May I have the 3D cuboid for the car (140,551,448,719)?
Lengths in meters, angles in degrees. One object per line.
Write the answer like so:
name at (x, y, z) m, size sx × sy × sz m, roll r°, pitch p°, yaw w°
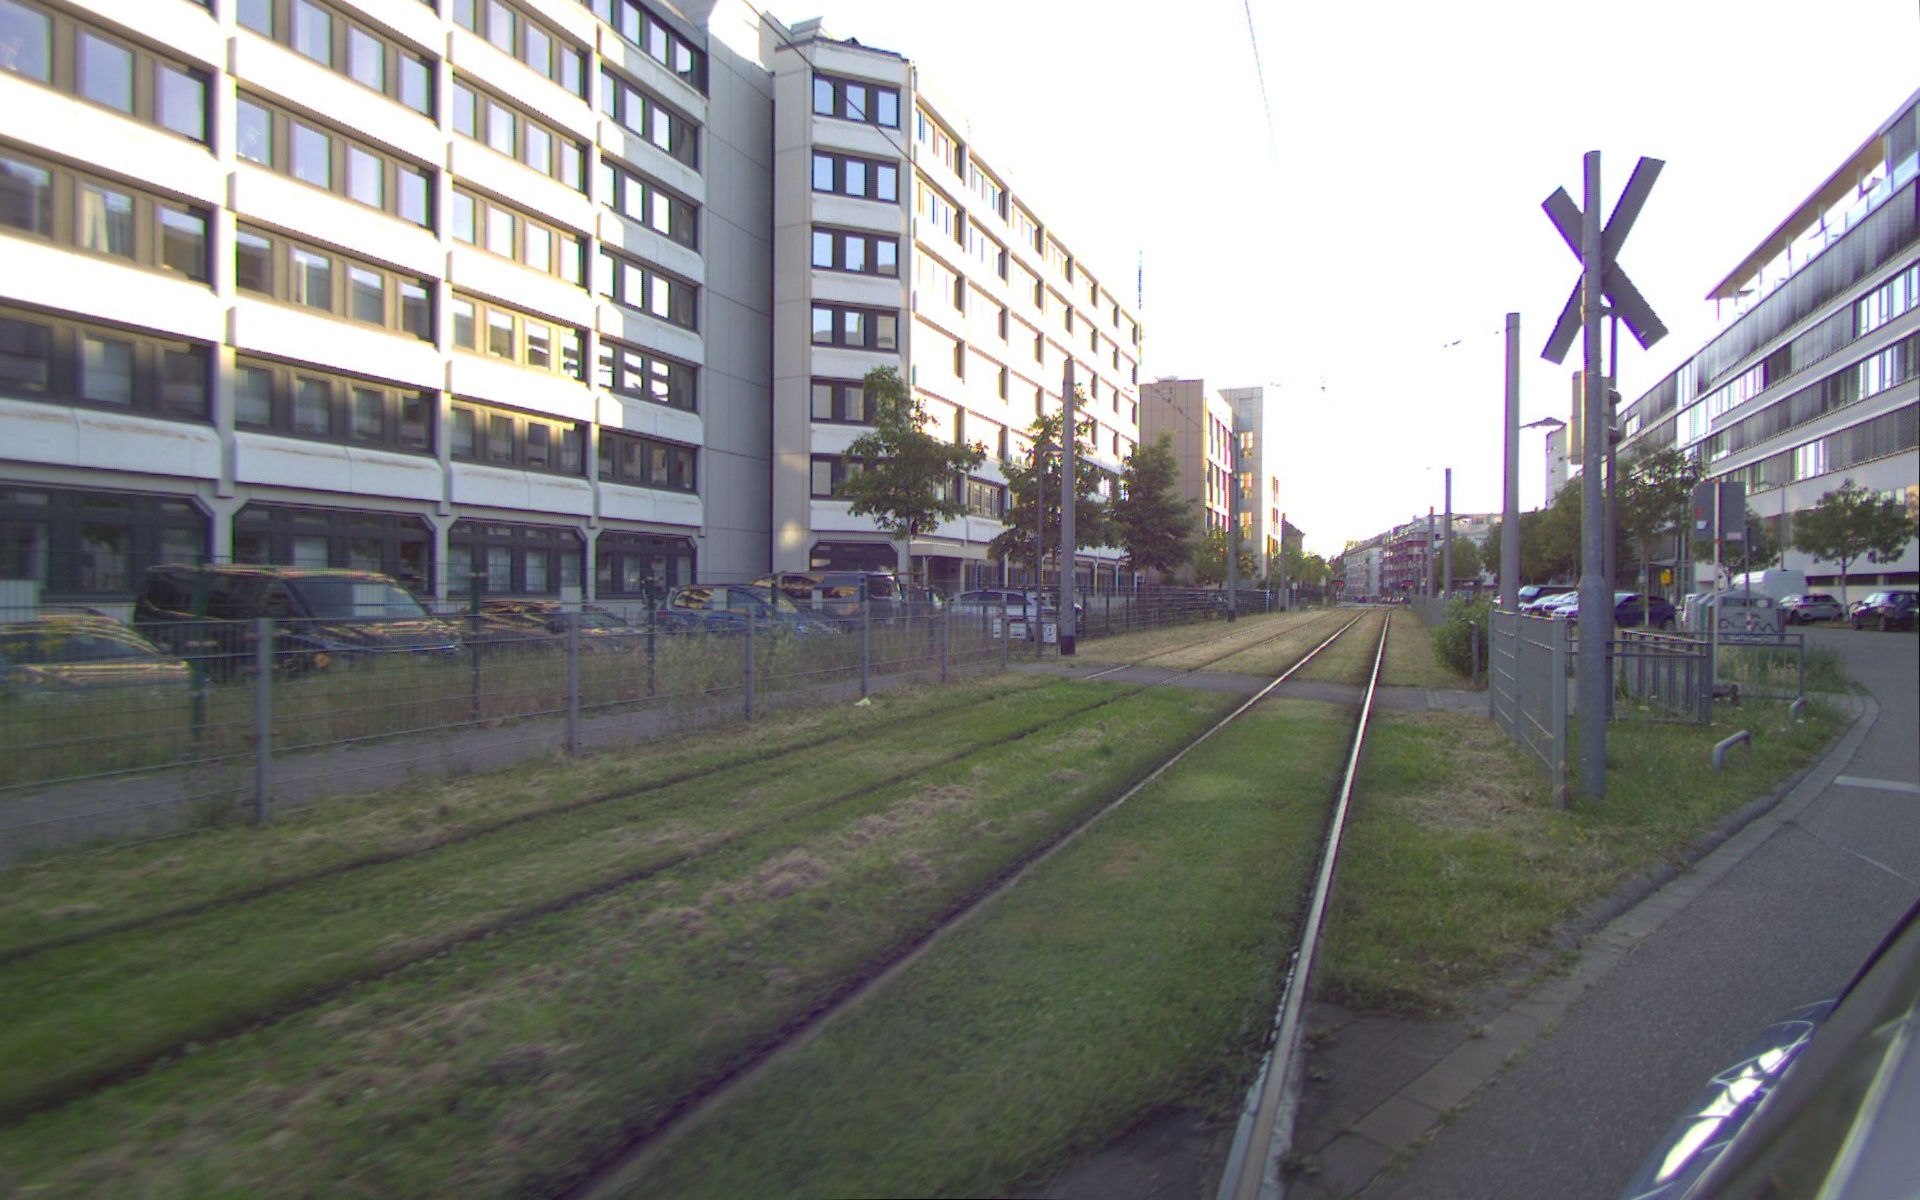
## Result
car at (-9.305, 0.409, 14.128) m, size 3.963 × 2.039 × 1.980 m, roll 0°, pitch 0°, yaw 28°

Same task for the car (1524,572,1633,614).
car at (27.001, -0.330, 44.210) m, size 3.917 × 1.779 × 1.721 m, roll 0°, pitch 0°, yaw -11°

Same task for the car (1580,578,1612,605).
car at (62.053, -0.838, 98.814) m, size 1.977 × 2.618 × 3.970 m, roll 0°, pitch 1°, yaw 22°

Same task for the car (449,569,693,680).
car at (-6.944, 0.380, 18.038) m, size 3.963 × 1.772 × 1.980 m, roll 0°, pitch 0°, yaw 28°

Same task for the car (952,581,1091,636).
car at (1.901, 0.247, 31.402) m, size 3.959 × 1.613 × 1.801 m, roll 0°, pitch 1°, yaw 26°

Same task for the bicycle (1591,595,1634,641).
bicycle at (17.109, 0.461, 26.530) m, size 1.894 × 1.149 × 0.541 m, roll -1°, pitch 0°, yaw -44°

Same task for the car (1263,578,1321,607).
car at (24.368, -0.559, 74.254) m, size 3.954 × 2.039 × 1.985 m, roll 0°, pitch 0°, yaw 23°

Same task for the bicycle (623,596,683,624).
bicycle at (-10.862, 0.339, 35.859) m, size 0.806 × 0.962 × 2.197 m, roll 0°, pitch 1°, yaw 24°

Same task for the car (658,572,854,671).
car at (-4.569, 0.427, 22.694) m, size 3.959 × 2.039 × 1.982 m, roll 0°, pitch 0°, yaw 26°

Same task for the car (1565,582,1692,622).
car at (24.869, 0.054, 37.702) m, size 3.916 × 1.393 × 1.721 m, roll 0°, pitch 0°, yaw -13°

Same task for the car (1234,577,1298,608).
car at (20.681, -0.501, 68.315) m, size 3.954 × 2.039 × 1.985 m, roll 0°, pitch 0°, yaw 23°

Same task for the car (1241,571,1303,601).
car at (21.784, -0.966, 70.673) m, size 3.954 × 2.039 × 1.985 m, roll 0°, pitch 0°, yaw 23°

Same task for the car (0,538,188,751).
car at (-10.662, 0.414, 11.165) m, size 3.963 × 2.039 × 1.980 m, roll 0°, pitch 0°, yaw 28°

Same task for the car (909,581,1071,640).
car at (0.853, 0.277, 29.213) m, size 4.361 × 1.613 × 1.801 m, roll 0°, pitch 1°, yaw 26°

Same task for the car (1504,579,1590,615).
car at (33.261, -0.176, 57.404) m, size 4.086 × 1.984 × 1.721 m, roll 0°, pitch 0°, yaw -11°

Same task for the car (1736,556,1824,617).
car at (41.778, -0.720, 51.741) m, size 1.985 × 2.912 × 6.202 m, roll 1°, pitch 1°, yaw 25°

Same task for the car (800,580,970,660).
car at (-2.041, 0.491, 27.615) m, size 4.231 × 2.039 × 1.982 m, roll 0°, pitch 1°, yaw 26°

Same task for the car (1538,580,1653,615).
car at (26.079, -0.105, 41.555) m, size 3.916 × 1.393 × 1.721 m, roll 0°, pitch 0°, yaw -13°

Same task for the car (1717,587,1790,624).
car at (37.145, 0.224, 47.497) m, size 1.843 × 1.517 × 4.629 m, roll -4°, pitch -1°, yaw 28°

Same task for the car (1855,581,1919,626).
car at (36.001, 0.095, 38.398) m, size 1.776 × 1.571 × 3.971 m, roll -2°, pitch 0°, yaw 22°

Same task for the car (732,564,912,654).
car at (-3.372, 0.196, 24.803) m, size 3.959 × 2.039 × 1.982 m, roll 0°, pitch 1°, yaw 26°

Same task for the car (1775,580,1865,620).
car at (39.416, -0.039, 46.484) m, size 1.775 × 1.723 × 3.975 m, roll 1°, pitch 1°, yaw 19°

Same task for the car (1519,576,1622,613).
car at (28.195, -0.280, 46.806) m, size 3.917 × 1.664 × 1.721 m, roll 0°, pitch 0°, yaw -11°

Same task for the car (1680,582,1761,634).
car at (23.643, 0.210, 31.549) m, size 1.618 × 1.530 × 3.381 m, roll 0°, pitch 1°, yaw 30°
